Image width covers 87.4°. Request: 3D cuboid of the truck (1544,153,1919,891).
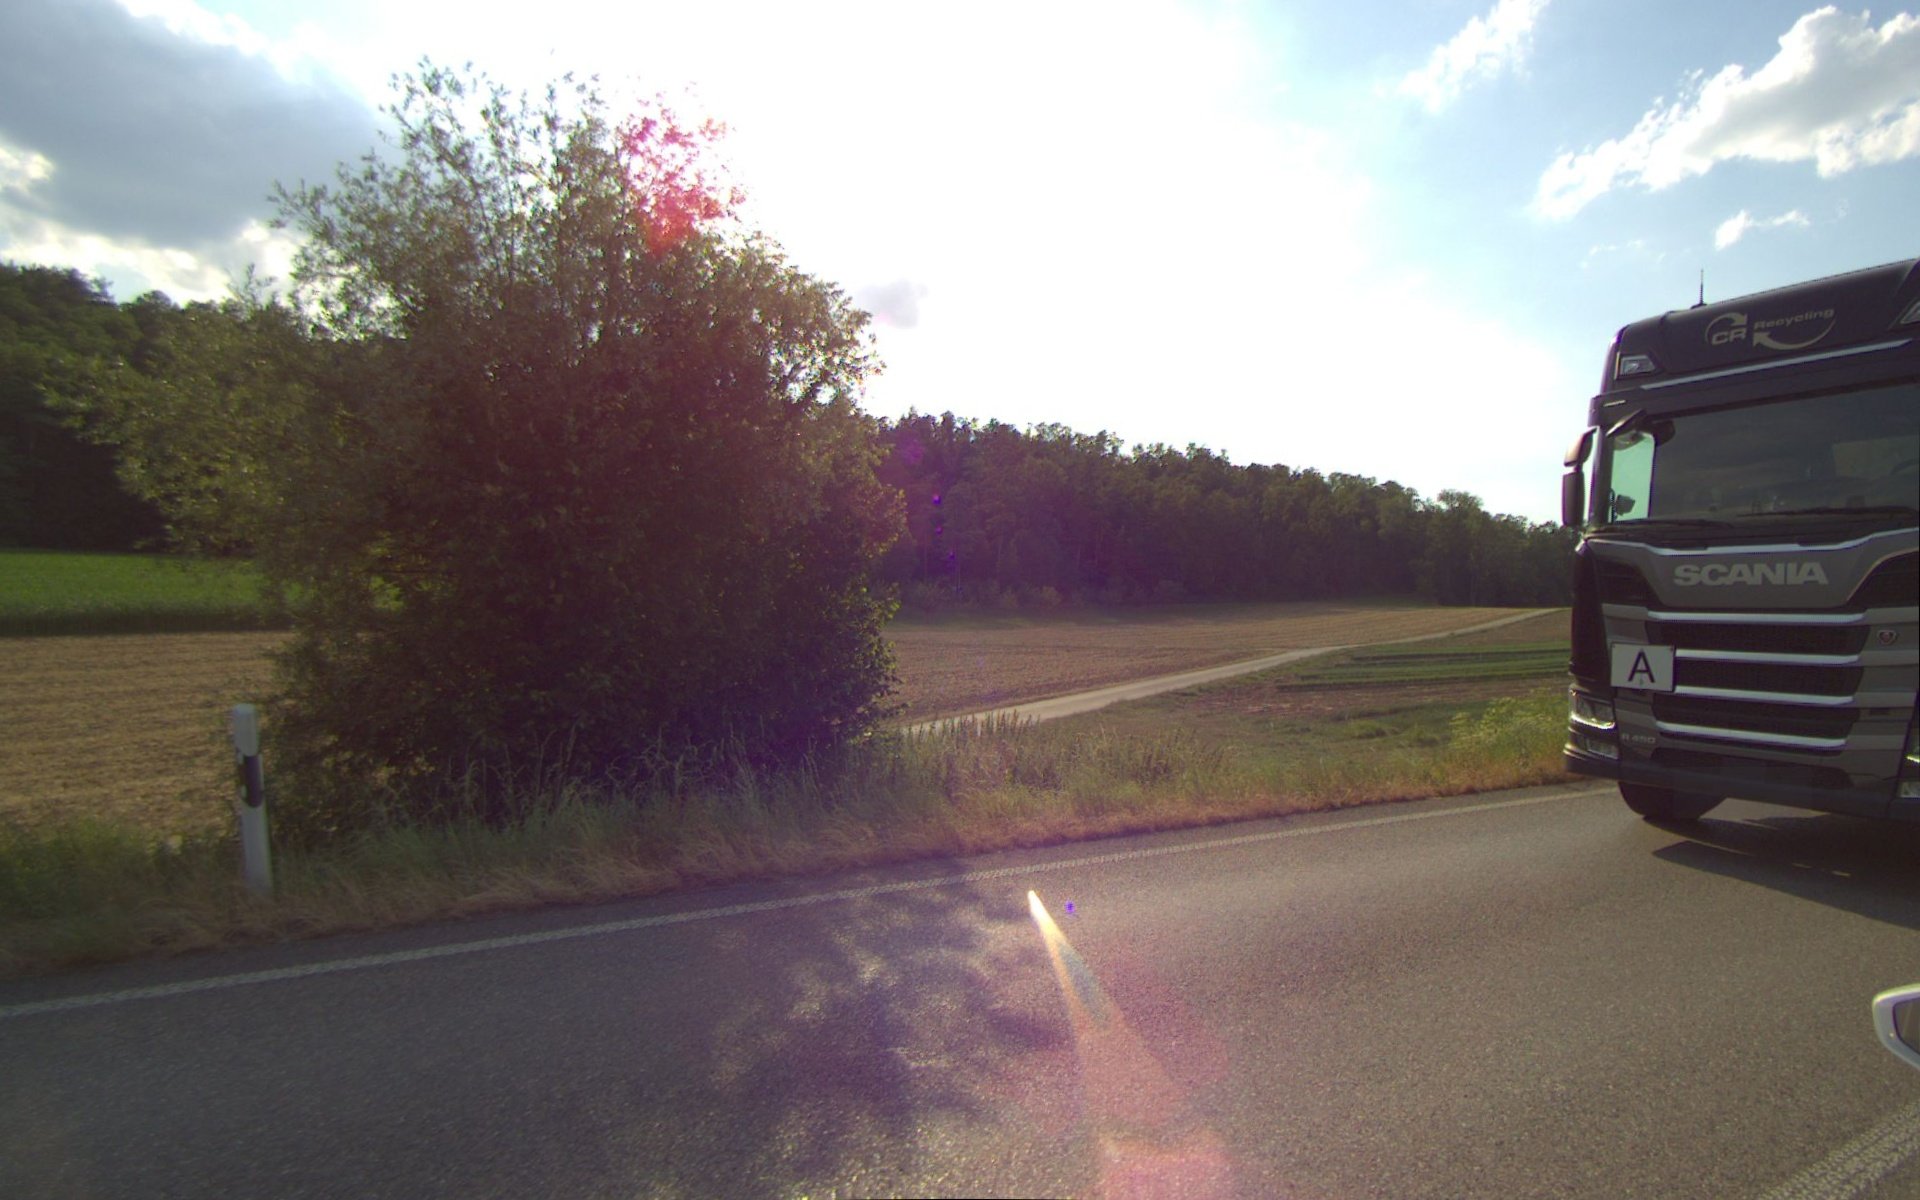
[{"bbox_3d":[9.130,-0.292,8.598,10.036,3.972,2.379,2,-1,-29],"label":"truck"}]
